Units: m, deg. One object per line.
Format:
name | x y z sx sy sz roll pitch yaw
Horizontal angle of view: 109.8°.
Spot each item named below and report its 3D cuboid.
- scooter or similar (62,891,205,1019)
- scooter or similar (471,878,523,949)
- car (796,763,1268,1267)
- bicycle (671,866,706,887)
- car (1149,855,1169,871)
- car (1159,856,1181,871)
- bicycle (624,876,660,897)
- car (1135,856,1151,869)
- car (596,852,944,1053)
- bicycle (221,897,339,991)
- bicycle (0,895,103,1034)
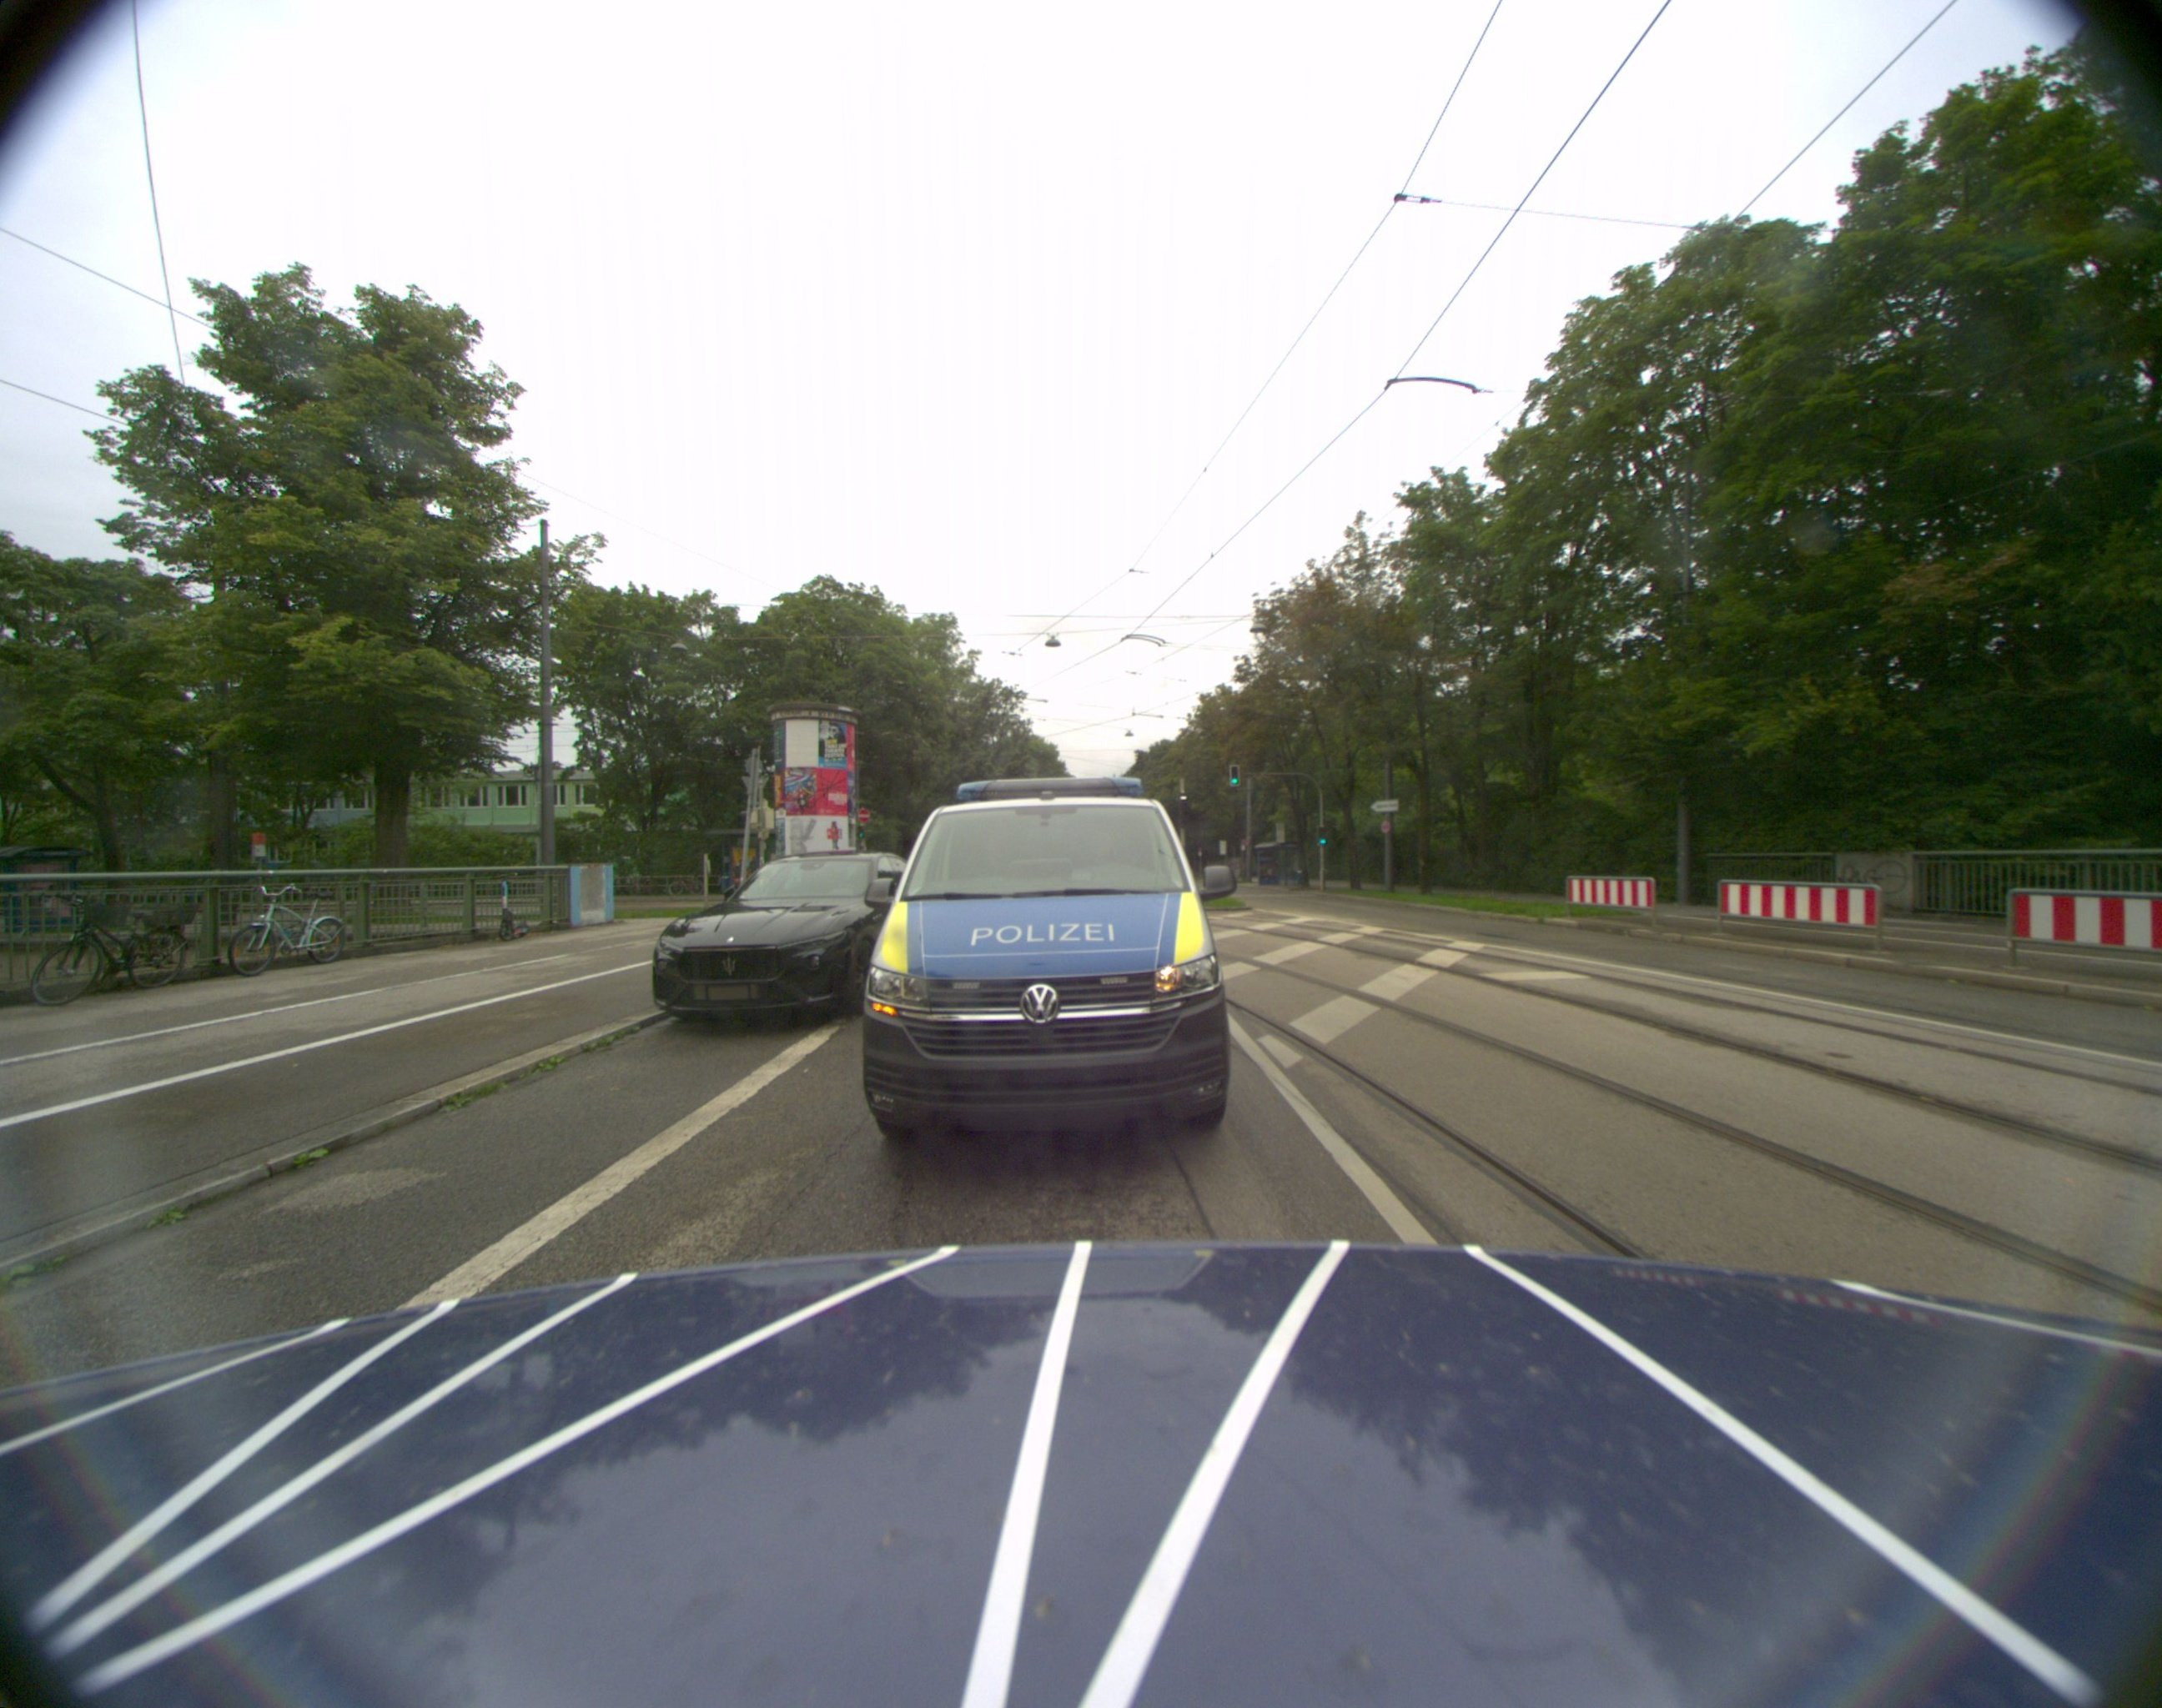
scooter or similar | -10.581 1.072 8.541 0.245 1.255 1.493 -3 1 -22
scooter or similar | -10.623 1.053 13.844 0.225 1.205 1.020 -3 1 -8
car | -0.237 0.637 5.964 1.903 2.041 5.707 -1 1 -1
bicycle | -18.574 1.078 35.966 1.483 0.946 0.373 -1 1 3
car | 9.350 1.063 91.498 1.888 1.716 3.999 -3 1 -1
car | 10.010 1.087 85.757 1.888 1.532 3.999 -3 1 0
bicycle | -20.886 1.554 36.120 1.483 0.946 0.373 -1 1 3
car | 8.632 1.154 106.165 1.888 1.716 3.999 -3 1 -1
car | -3.022 0.831 8.678 1.905 1.600 4.665 -3 0 1
bicycle | -10.732 1.167 10.244 0.265 1.076 1.540 -3 1 -14
bicycle | -10.584 1.087 7.549 0.283 1.274 1.408 -3 1 -19
